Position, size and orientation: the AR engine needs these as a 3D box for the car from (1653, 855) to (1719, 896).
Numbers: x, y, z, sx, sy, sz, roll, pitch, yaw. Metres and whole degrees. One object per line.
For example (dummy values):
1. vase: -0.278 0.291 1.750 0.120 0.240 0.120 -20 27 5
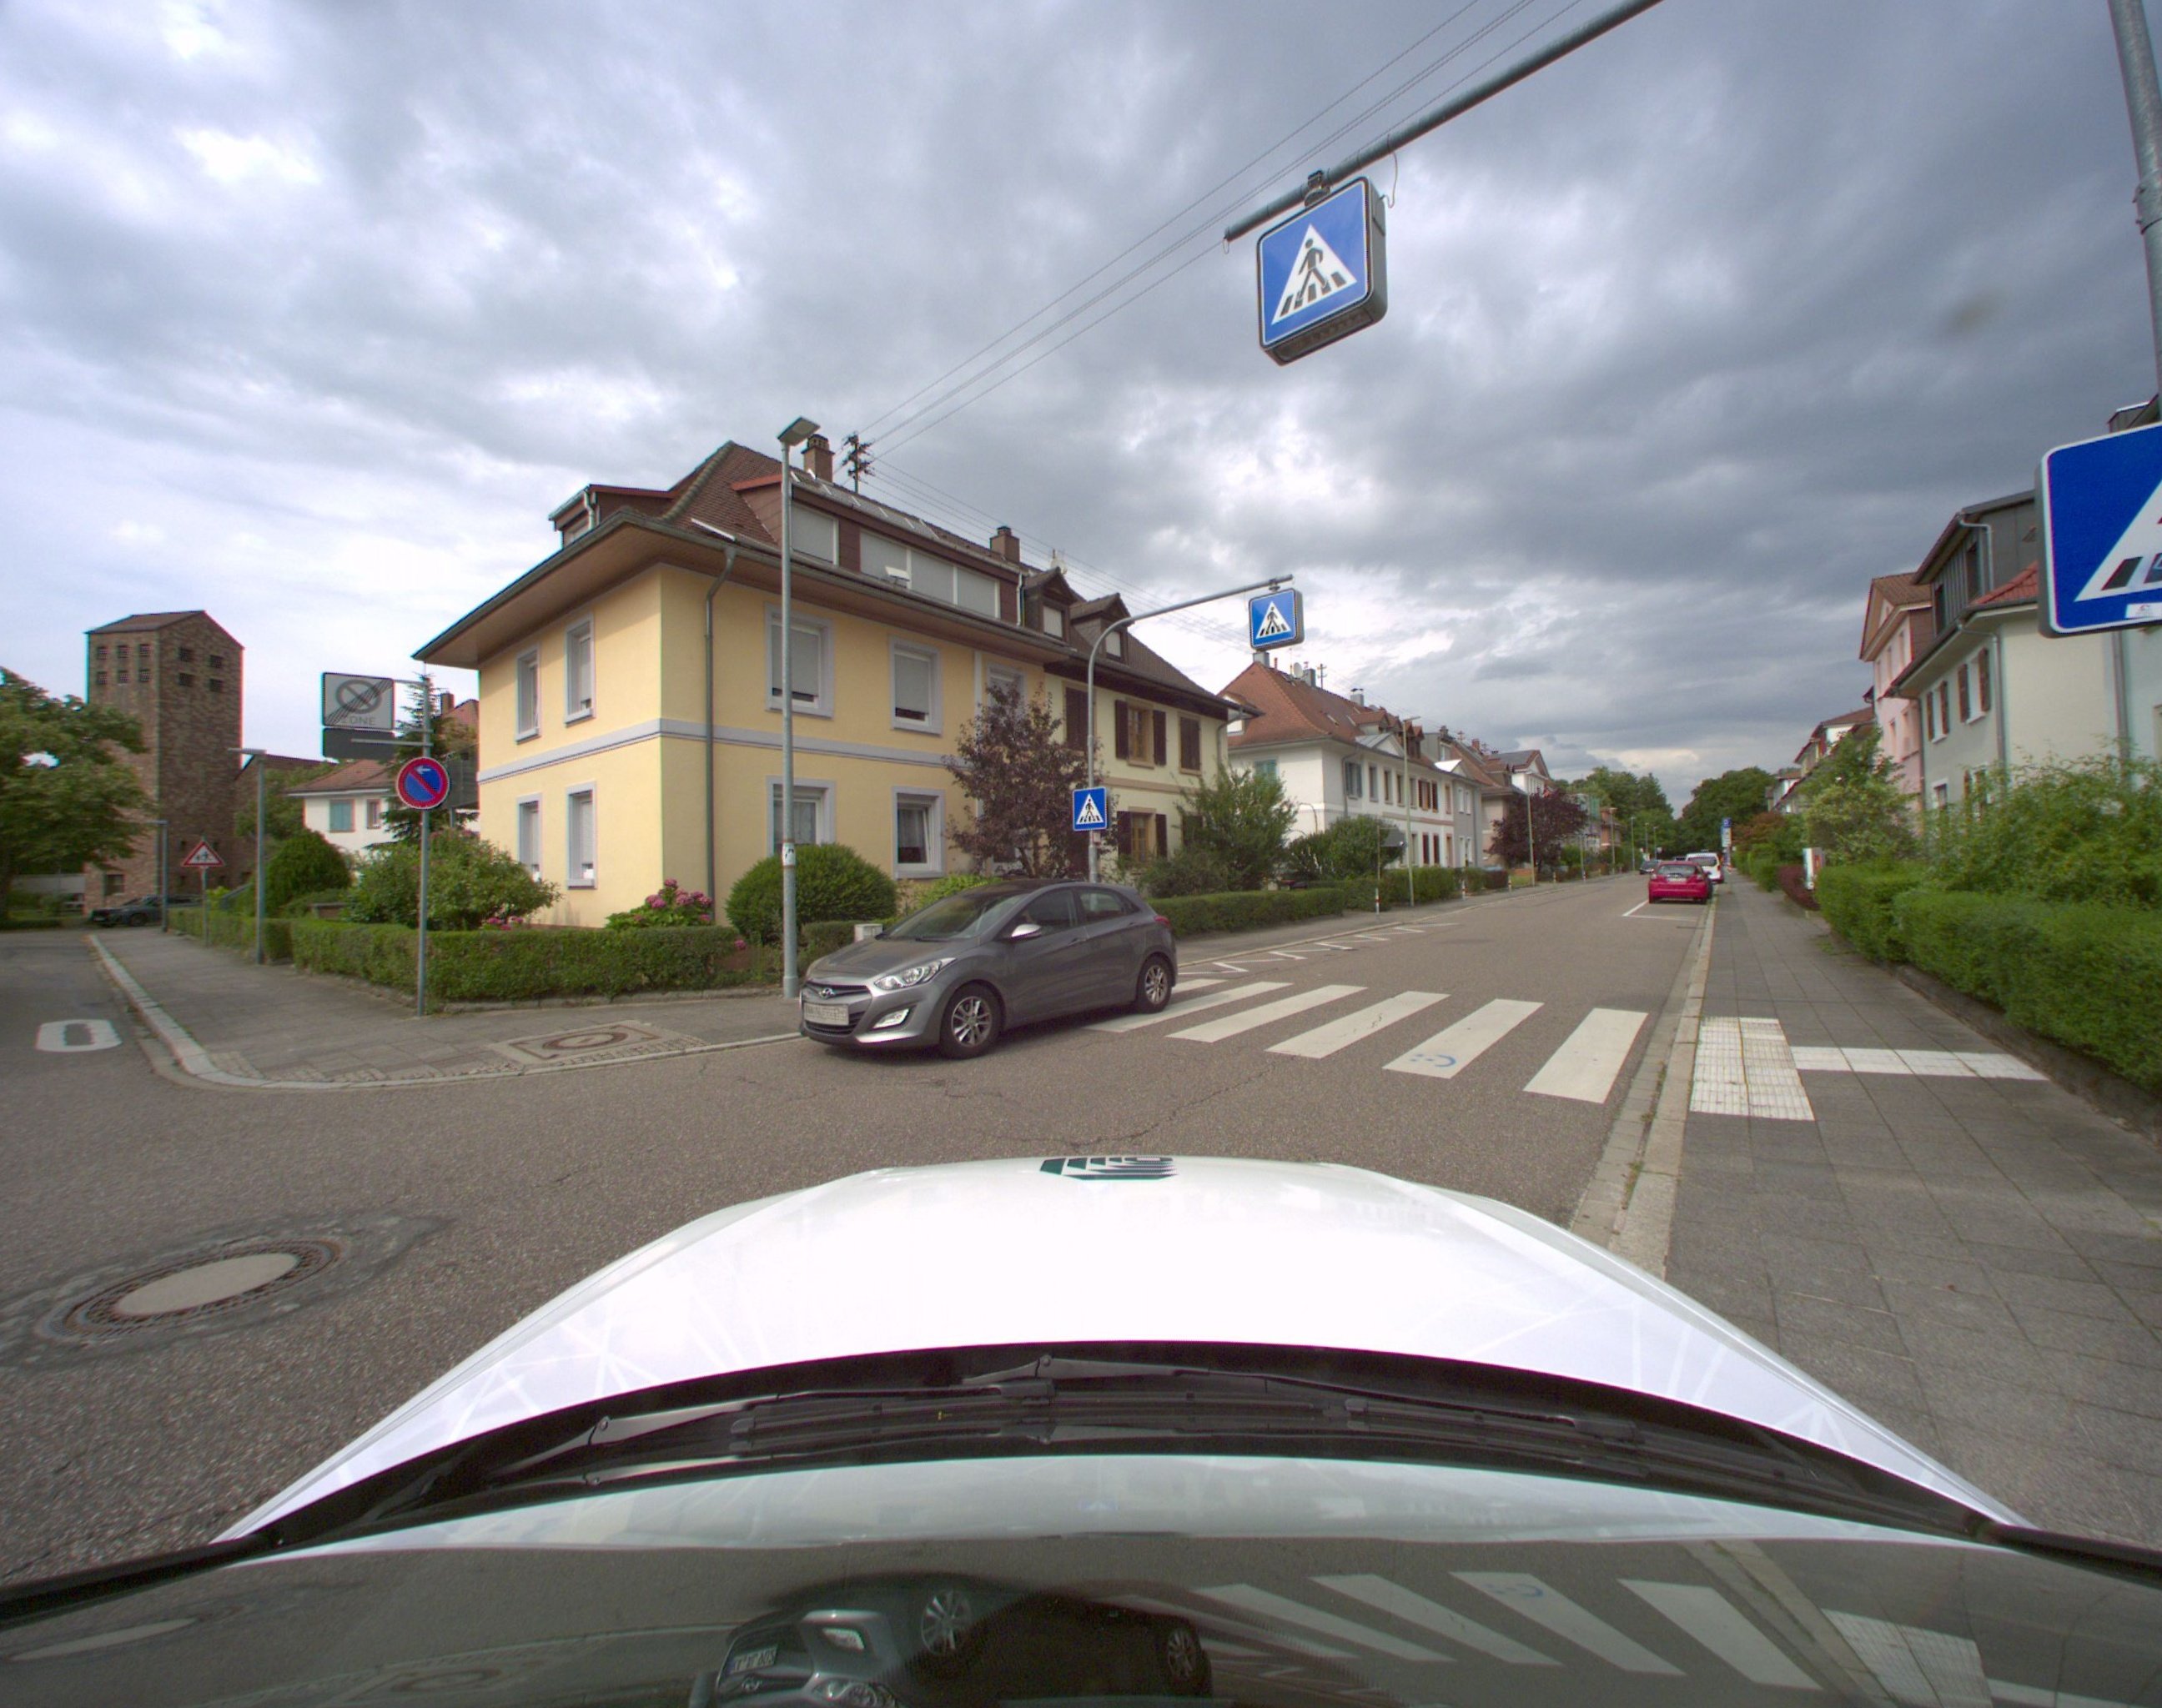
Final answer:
1. car: 24.990 0.870 33.599 1.974 1.574 4.025 -3 -2 39

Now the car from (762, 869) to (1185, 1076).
1. car: -0.829 0.945 8.220 1.830 1.481 4.067 -3 -2 39

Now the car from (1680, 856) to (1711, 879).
1. car: 52.771 1.188 69.861 1.974 1.833 4.024 -1 -3 39

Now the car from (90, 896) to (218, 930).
1. car: -47.443 2.977 41.771 1.662 1.464 4.254 -1 -1 38

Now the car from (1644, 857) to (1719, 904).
1. car: 21.779 0.936 29.494 1.974 1.574 4.025 -3 -2 39

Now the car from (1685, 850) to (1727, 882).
1. car: 39.549 0.744 51.521 1.974 1.904 4.025 -3 -2 39
